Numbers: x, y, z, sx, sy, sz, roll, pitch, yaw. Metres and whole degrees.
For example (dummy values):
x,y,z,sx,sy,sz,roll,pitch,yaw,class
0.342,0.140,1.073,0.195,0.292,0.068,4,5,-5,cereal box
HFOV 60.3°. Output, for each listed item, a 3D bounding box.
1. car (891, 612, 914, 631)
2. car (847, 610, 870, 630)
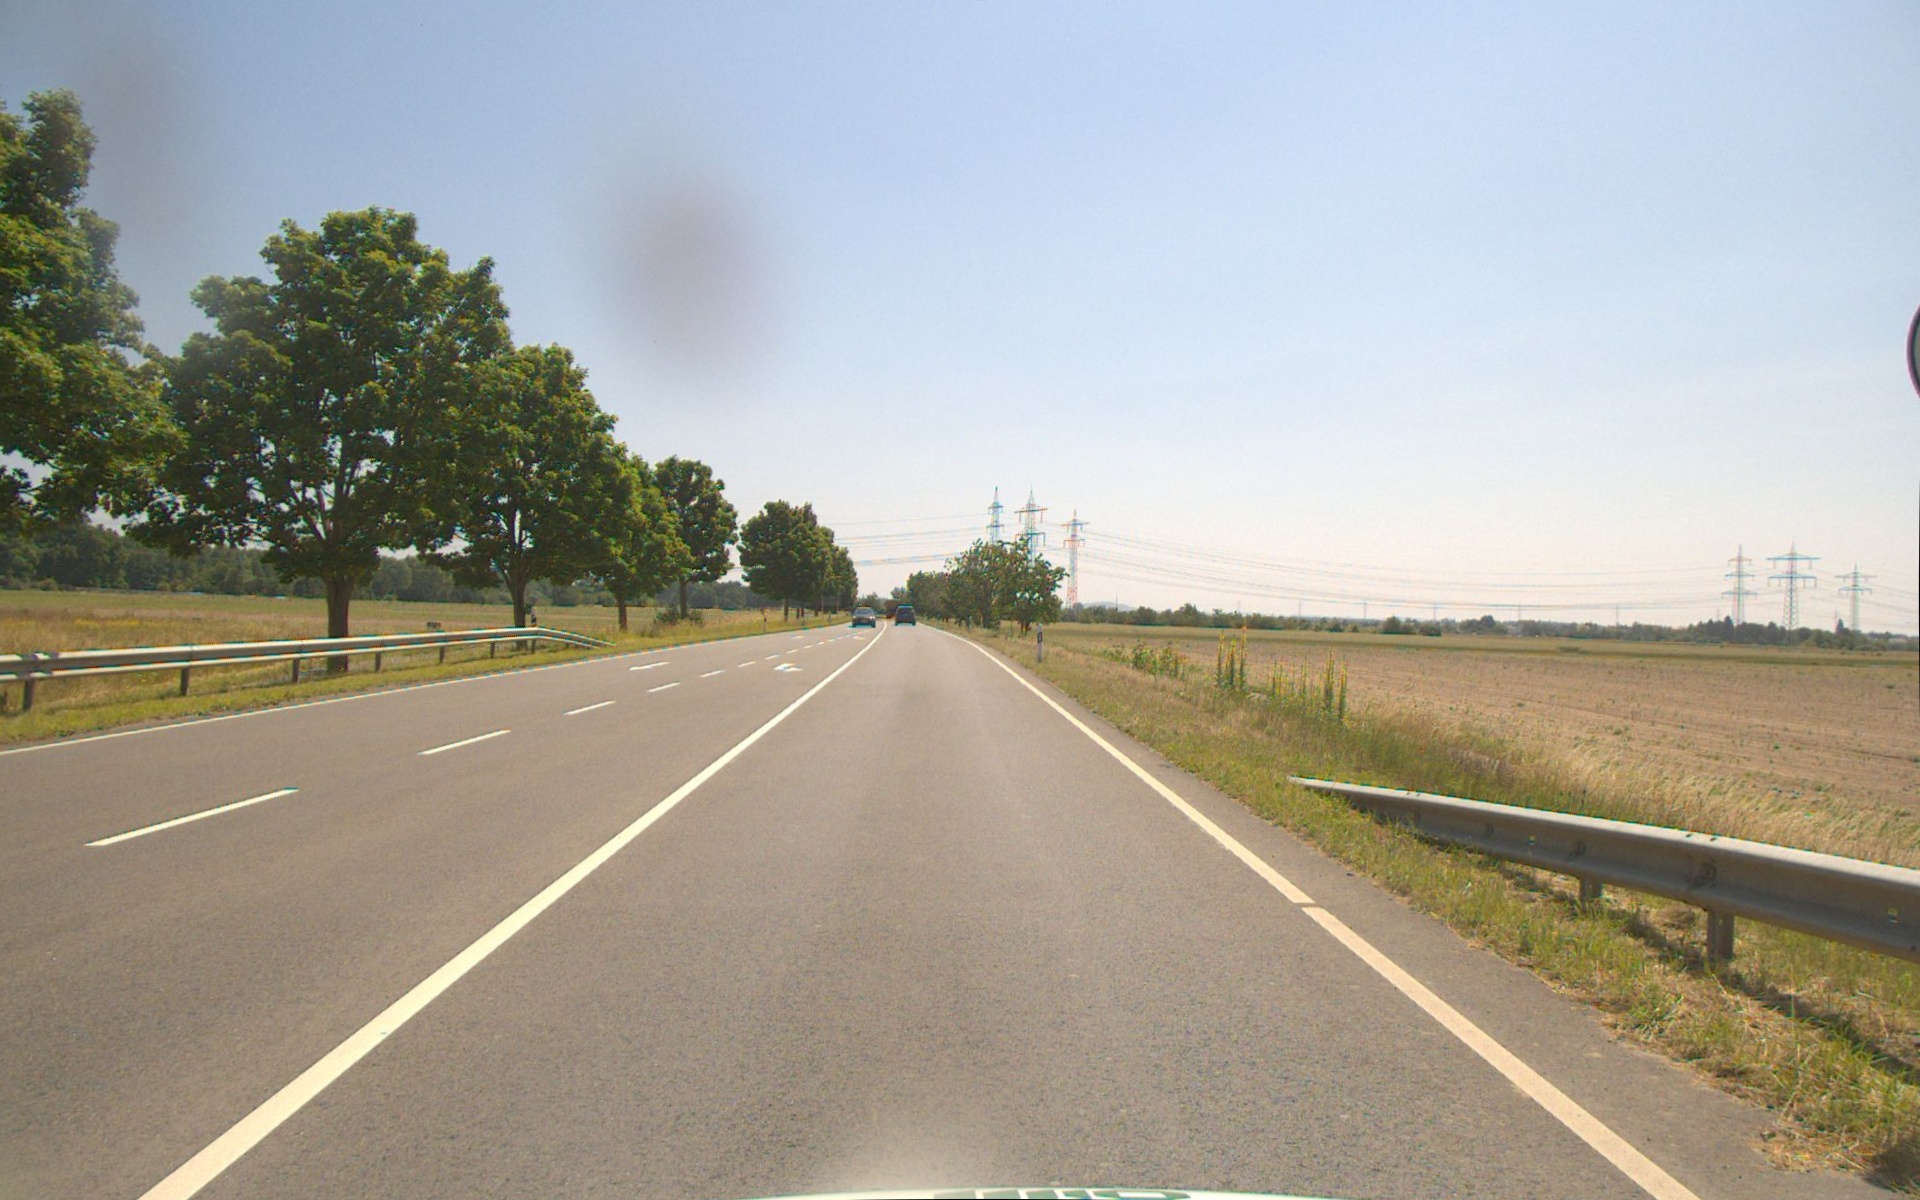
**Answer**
x,y,z,sx,sy,sz,roll,pitch,yaw,class
-5.191,1.926,149.275,1.847,1.544,4.037,4,0,-3,car
-7.680,1.501,125.130,1.704,1.499,4.615,1,0,-3,car
